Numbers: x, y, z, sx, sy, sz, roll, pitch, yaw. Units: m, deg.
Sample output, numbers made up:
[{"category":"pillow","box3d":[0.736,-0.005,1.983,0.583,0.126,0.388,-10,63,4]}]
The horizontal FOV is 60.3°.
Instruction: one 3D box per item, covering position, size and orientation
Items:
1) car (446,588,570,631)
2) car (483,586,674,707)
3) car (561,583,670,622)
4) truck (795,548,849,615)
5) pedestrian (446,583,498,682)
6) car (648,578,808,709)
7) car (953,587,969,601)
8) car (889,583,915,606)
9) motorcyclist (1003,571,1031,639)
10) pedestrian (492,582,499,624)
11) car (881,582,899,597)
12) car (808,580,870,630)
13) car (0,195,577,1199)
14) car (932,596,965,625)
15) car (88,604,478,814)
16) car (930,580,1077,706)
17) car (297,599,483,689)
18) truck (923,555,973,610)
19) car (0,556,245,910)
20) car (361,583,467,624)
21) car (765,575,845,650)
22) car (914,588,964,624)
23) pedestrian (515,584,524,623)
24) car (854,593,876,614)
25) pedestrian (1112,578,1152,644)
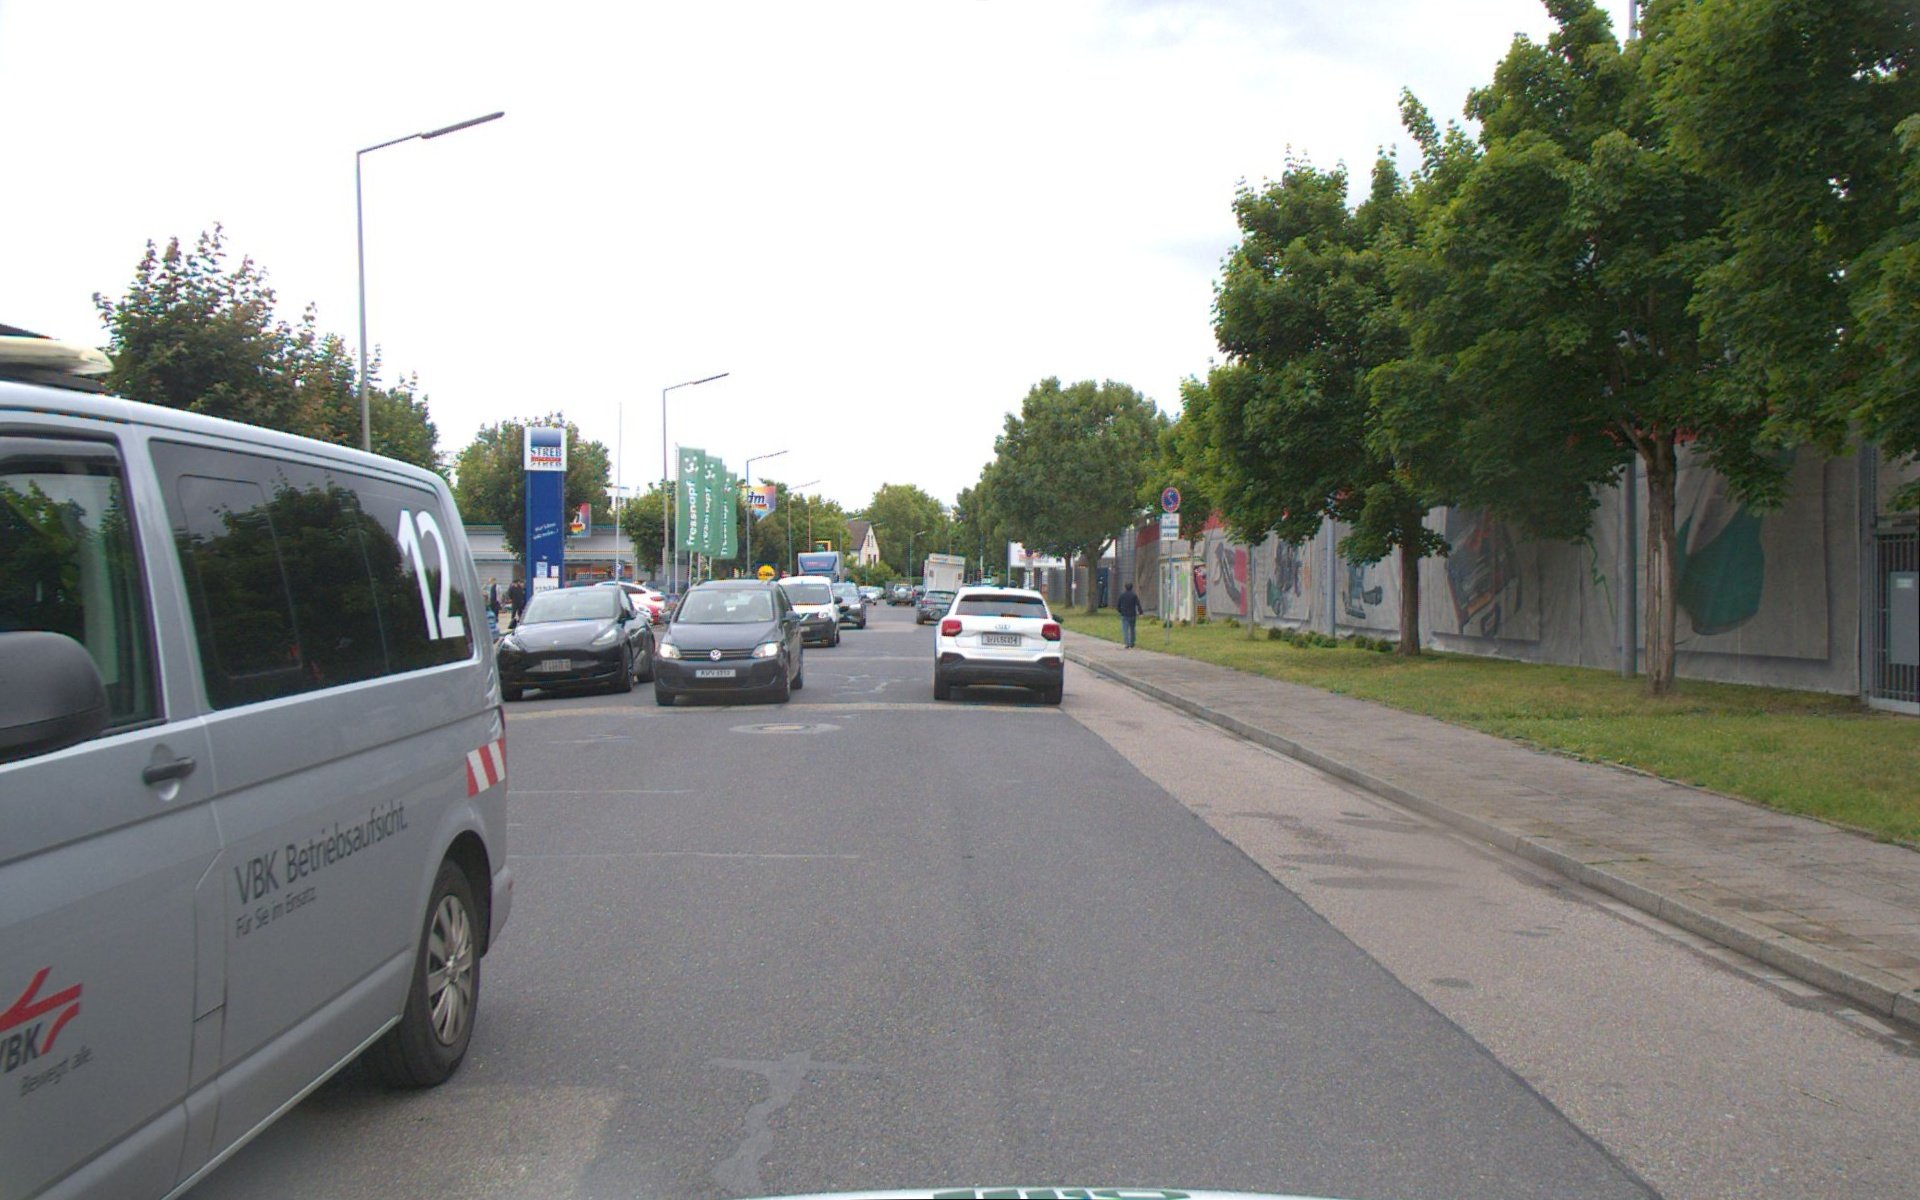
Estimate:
[{"category":"car","box3d":[-16.363,0.325,60.081,4.126,1.489,1.948,-1,0,-10]},{"category":"car","box3d":[-5.730,0.637,25.392,1.908,1.553,4.401,-4,1,-2]},{"category":"car","box3d":[-13.511,0.087,65.106,4.057,1.489,1.895,0,0,-8]},{"category":"truck","box3d":[-8.631,-1.137,104.057,2.913,4.025,6.403,-1,0,-1]},{"category":"pedestrian","box3d":[-8.767,0.573,29.741,0.760,1.745,0.696,1,0,-6]},{"category":"car","box3d":[-3.077,0.522,22.583,1.694,1.599,3.945,-1,0,-2]},{"category":"car","box3d":[0.106,-0.781,213.178,1.848,1.712,4.253,2,0,-1]},{"category":"car","box3d":[-4.470,-0.415,126.818,1.832,1.691,3.997,-1,0,-4]},{"category":"motorcyclist","box3d":[1.325,0.114,38.478,0.612,1.581,0.604,0,0,0]},{"category":"pedestrian","box3d":[-19.451,0.122,69.296,0.258,1.760,0.421,0,0,-14]},{"category":"car","box3d":[-8.057,-1.226,189.726,1.741,1.684,3.742,1,0,-8]},{"category":"car","box3d":[-4.407,0.161,60.884,1.893,1.713,4.495,-1,0,0]},{"category":"car","box3d":[-2.341,0.454,3.704,1.888,2.049,4.954,0,0,-1]},{"category":"car","box3d":[-0.808,0.684,109.379,1.954,1.837,3.997,1,0,-3]},{"category":"car","box3d":[-5.761,0.828,14.732,1.665,1.391,4.516,-5,1,-2]},{"category":"car","box3d":[0.528,0.543,23.522,1.848,1.558,4.253,2,0,-1]},{"category":"car","box3d":[-13.361,1.008,38.974,3.857,2.049,1.757,0,0,-9]},{"category":"truck","box3d":[-0.915,-1.194,118.488,3.072,3.647,10.044,1,0,-3]},{"category":"car","box3d":[-5.612,0.697,8.445,1.828,1.721,4.728,-4,1,-1]},{"category":"car","box3d":[-23.352,0.153,70.833,3.906,1.698,1.876,0,0,-2]},{"category":"car","box3d":[-3.989,0.289,43.134,1.655,1.791,4.135,-2,1,0]},{"category":"car","box3d":[-0.864,0.222,66.767,1.899,1.391,3.998,-1,1,-2]},{"category":"pedestrian","box3d":[-18.115,0.155,68.022,0.353,1.597,0.502,0,0,-15]},{"category":"car","box3d":[-7.482,0.270,131.018,1.566,1.554,3.527,-2,0,-1]},{"category":"pedestrian","box3d":[4.421,0.288,42.528,0.900,1.663,0.852,1,0,0]}]
